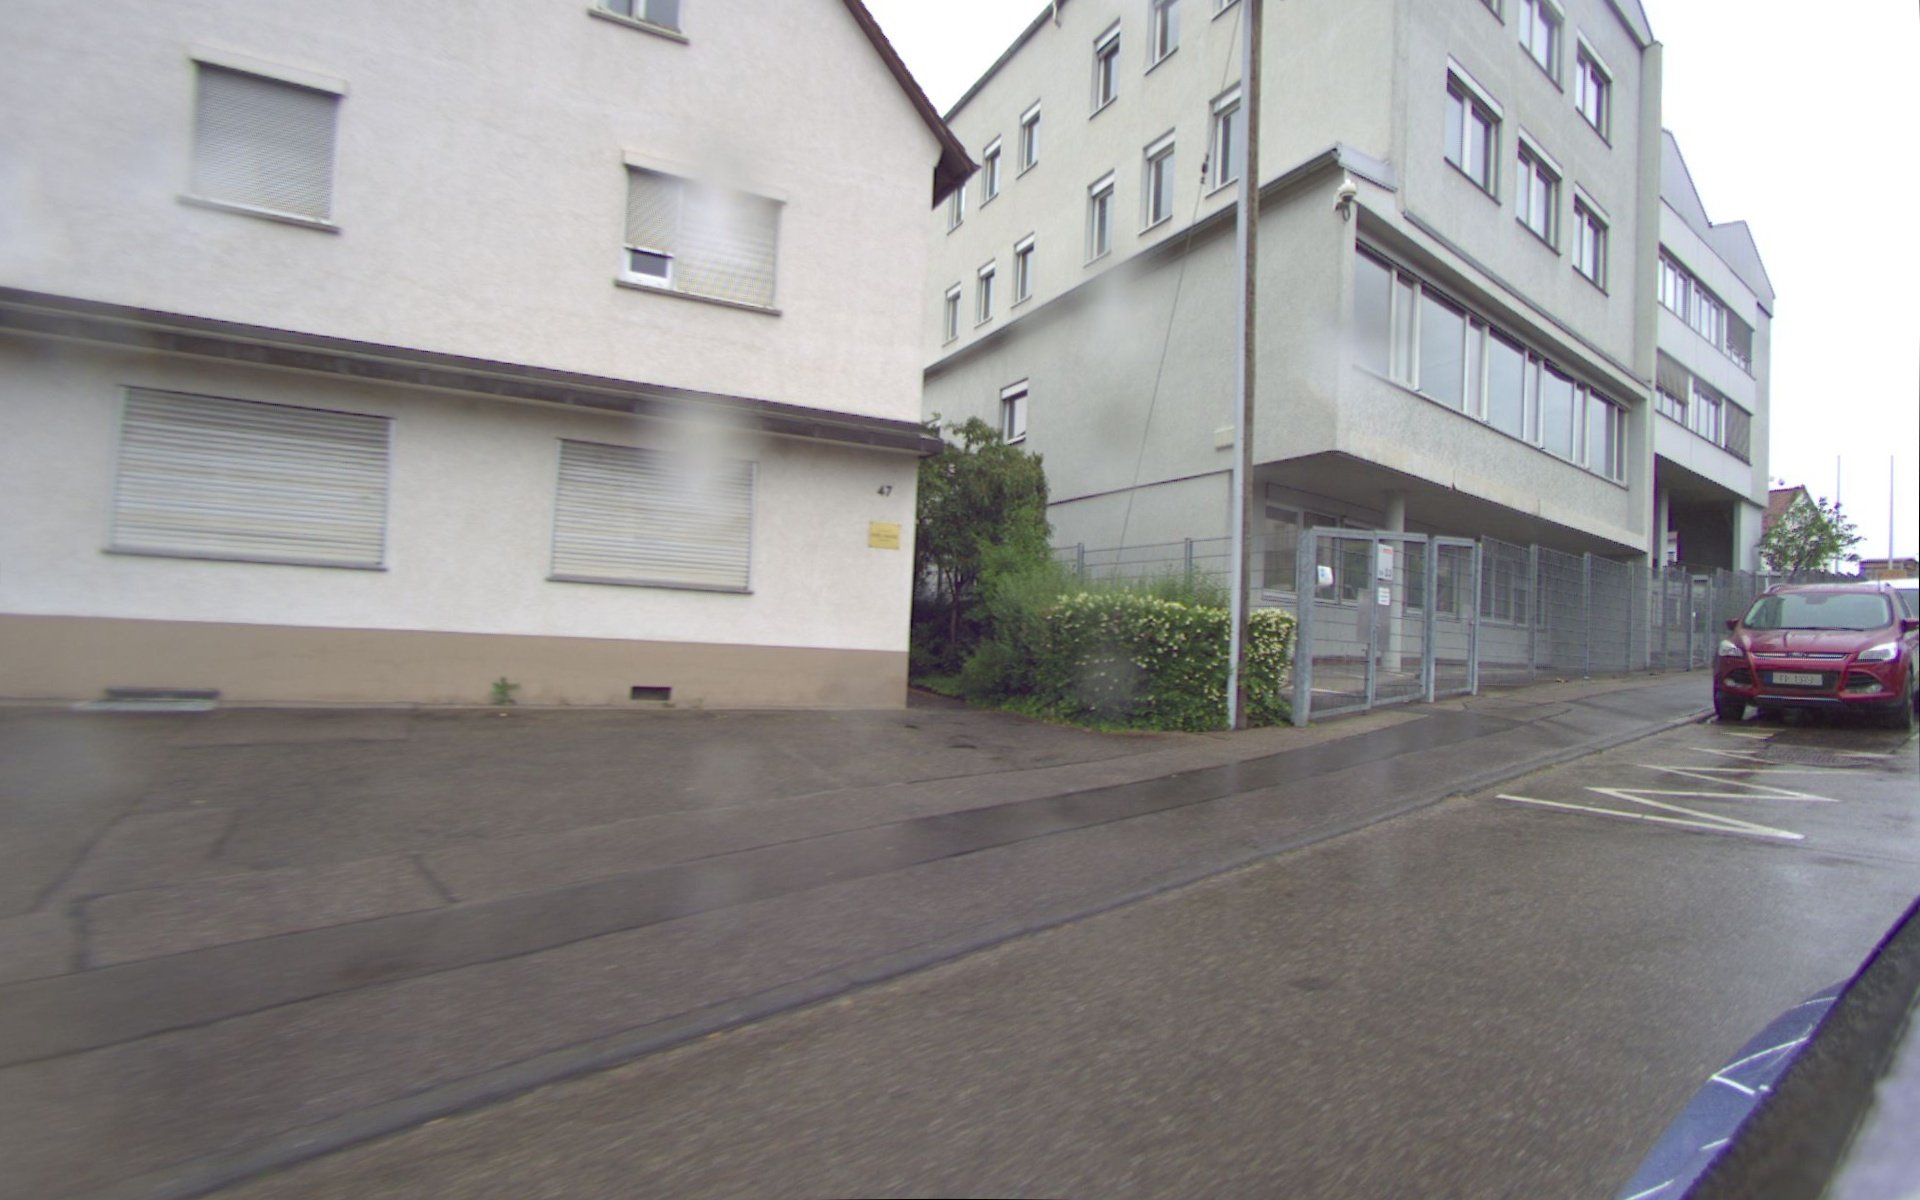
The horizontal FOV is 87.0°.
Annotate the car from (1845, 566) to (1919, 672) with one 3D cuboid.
[{"bbox_3d":[19.591,0.346,20.378,4.888,1.959,1.997,0,0,-41],"label":"car"}]

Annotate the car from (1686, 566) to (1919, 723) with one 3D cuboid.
[{"bbox_3d":[11.300,0.450,13.101,4.871,1.665,1.997,0,0,-41],"label":"car"}]

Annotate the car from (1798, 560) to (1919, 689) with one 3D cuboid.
[{"bbox_3d":[15.251,0.344,16.384,4.410,1.857,1.881,0,0,-41],"label":"car"}]
